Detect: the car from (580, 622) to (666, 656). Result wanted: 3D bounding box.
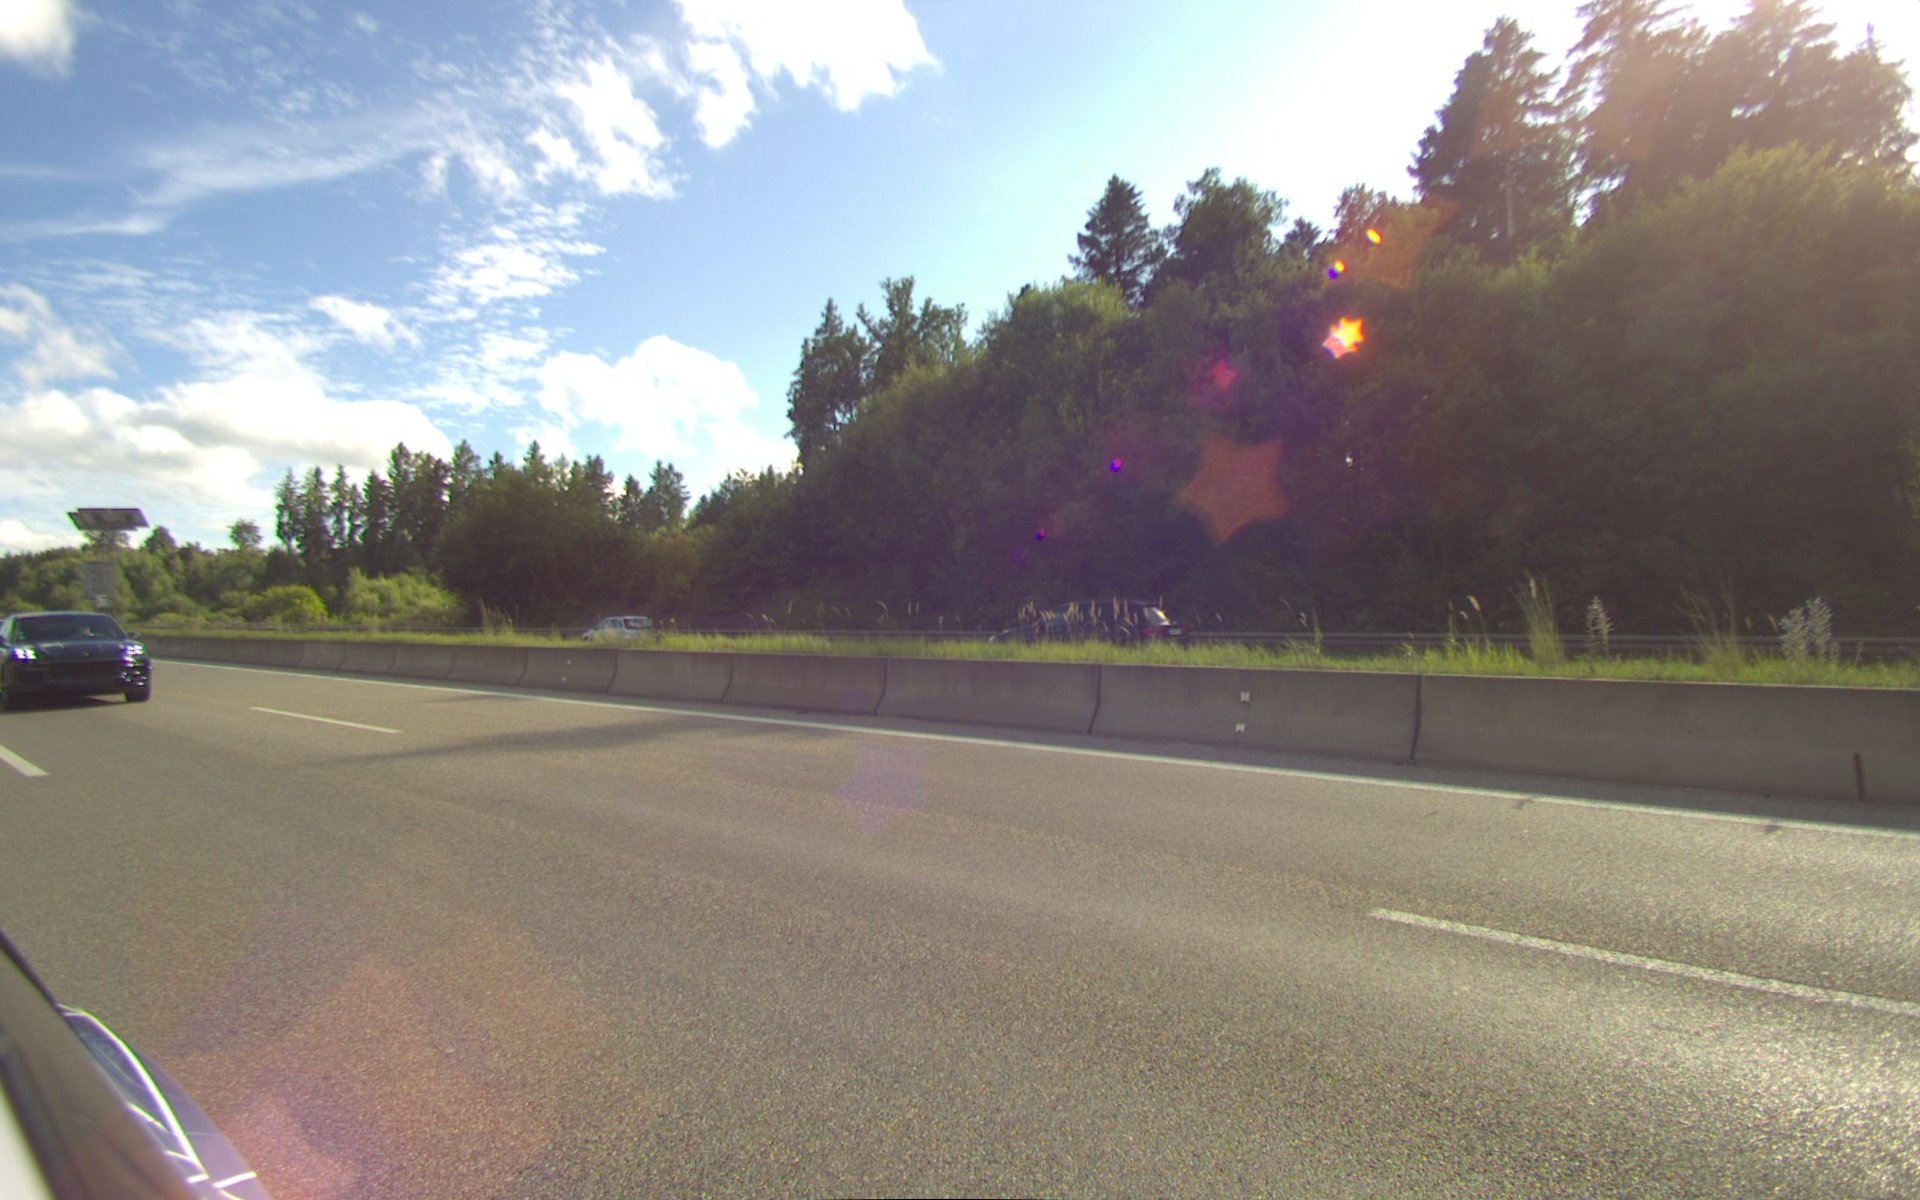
[{"bbox_3d":[-13.844,1.571,41.529,3.542,1.300,1.797,-2,-1,41],"label":"car"}]

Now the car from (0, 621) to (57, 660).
[{"bbox_3d":[-42.497,1.813,45.783,4.385,1.630,1.936,-2,-1,41],"label":"car"}]

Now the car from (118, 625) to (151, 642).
[{"bbox_3d":[-86.823,3.525,106.423,4.567,1.640,1.860,-2,-1,40],"label":"car"}]

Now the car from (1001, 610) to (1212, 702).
[{"bbox_3d":[3.021,1.116,21.294,3.998,1.730,1.886,-2,-1,41],"label":"car"}]

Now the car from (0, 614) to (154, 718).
[{"bbox_3d":[-16.314,1.106,18.347,4.385,1.630,1.936,-2,-1,41],"label":"car"}]
